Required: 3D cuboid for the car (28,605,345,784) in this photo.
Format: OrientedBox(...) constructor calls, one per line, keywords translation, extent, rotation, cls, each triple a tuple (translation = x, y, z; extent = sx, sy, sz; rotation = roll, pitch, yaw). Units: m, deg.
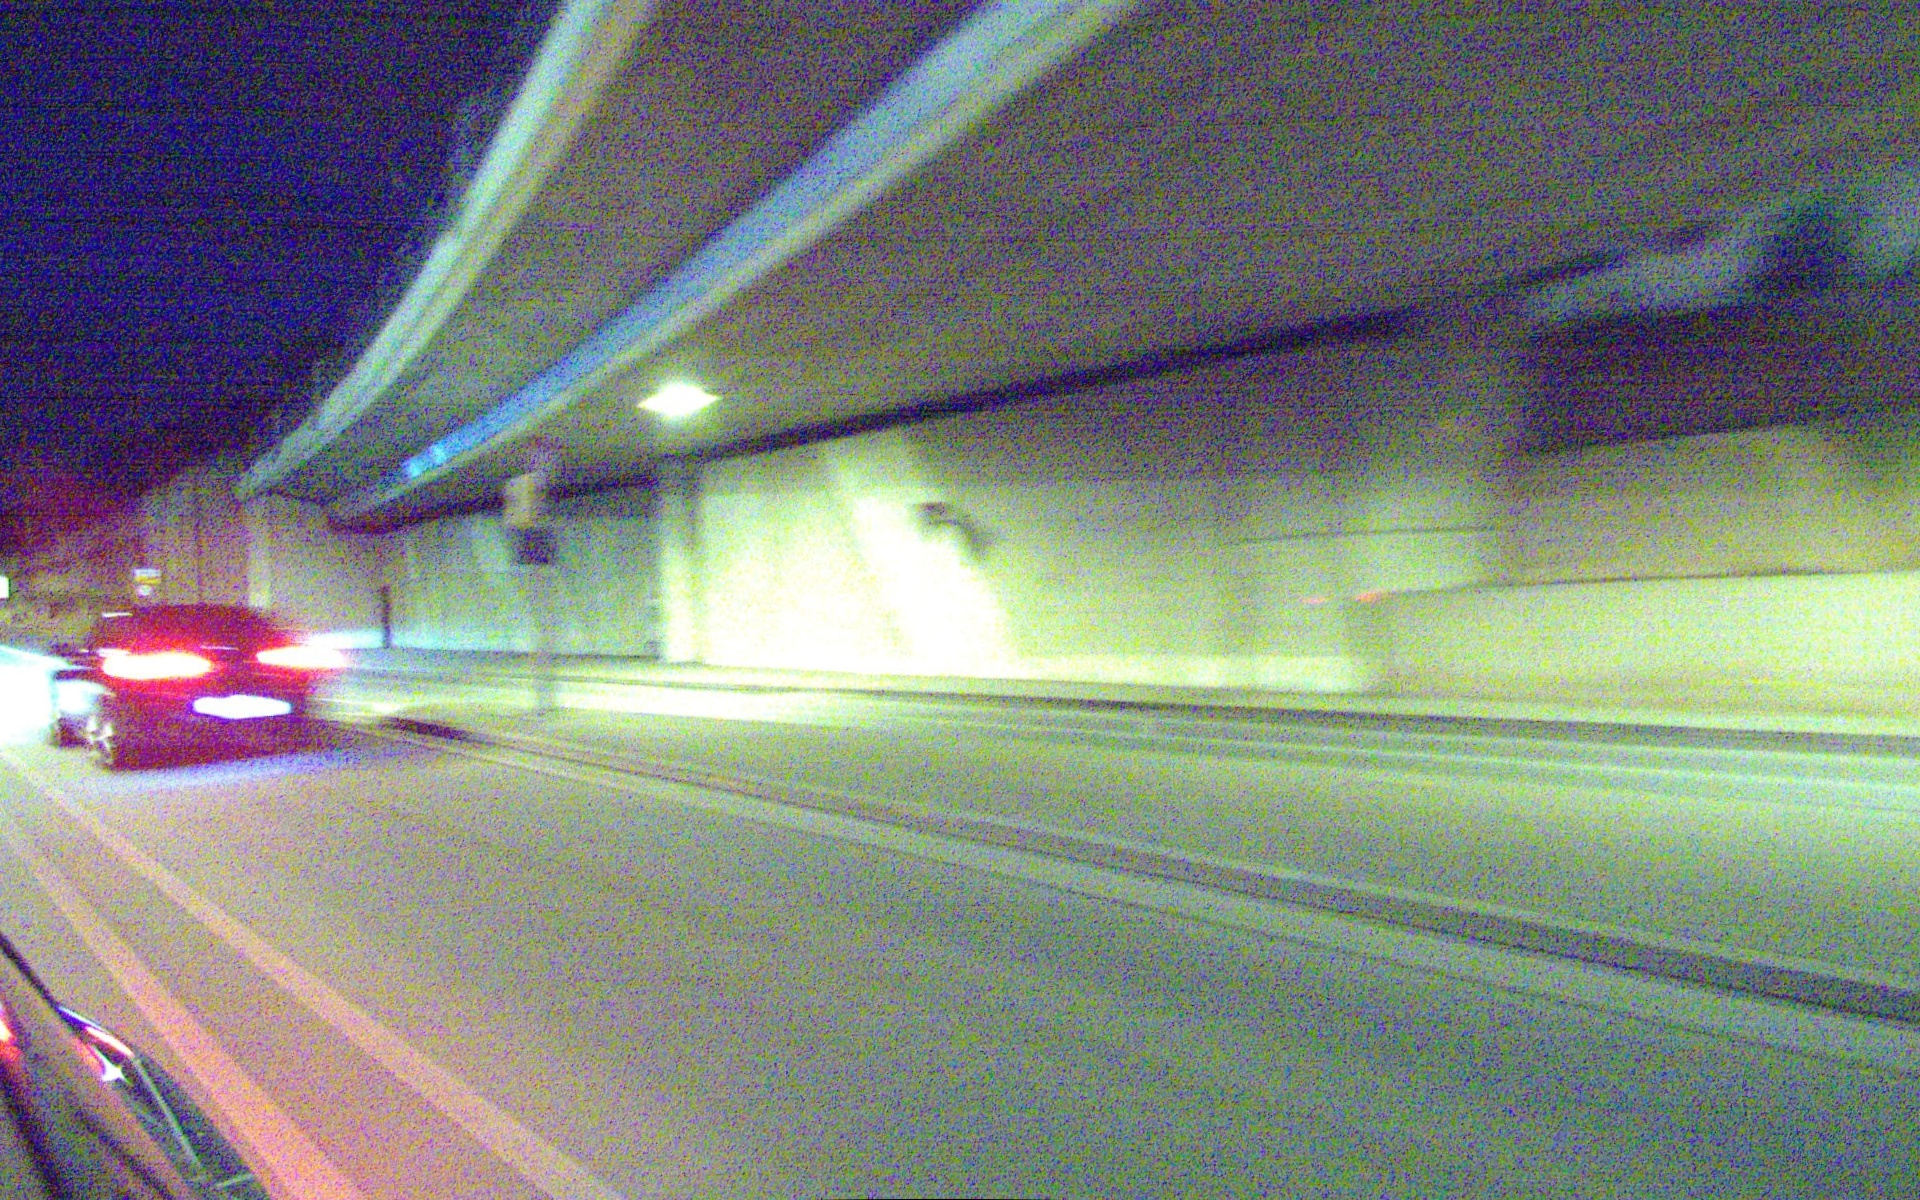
OrientedBox(translation=(-8.539, 0.846, 11.039), extent=(4.214, 1.566, 1.863), rotation=(0, 0, 40), cls="car")
